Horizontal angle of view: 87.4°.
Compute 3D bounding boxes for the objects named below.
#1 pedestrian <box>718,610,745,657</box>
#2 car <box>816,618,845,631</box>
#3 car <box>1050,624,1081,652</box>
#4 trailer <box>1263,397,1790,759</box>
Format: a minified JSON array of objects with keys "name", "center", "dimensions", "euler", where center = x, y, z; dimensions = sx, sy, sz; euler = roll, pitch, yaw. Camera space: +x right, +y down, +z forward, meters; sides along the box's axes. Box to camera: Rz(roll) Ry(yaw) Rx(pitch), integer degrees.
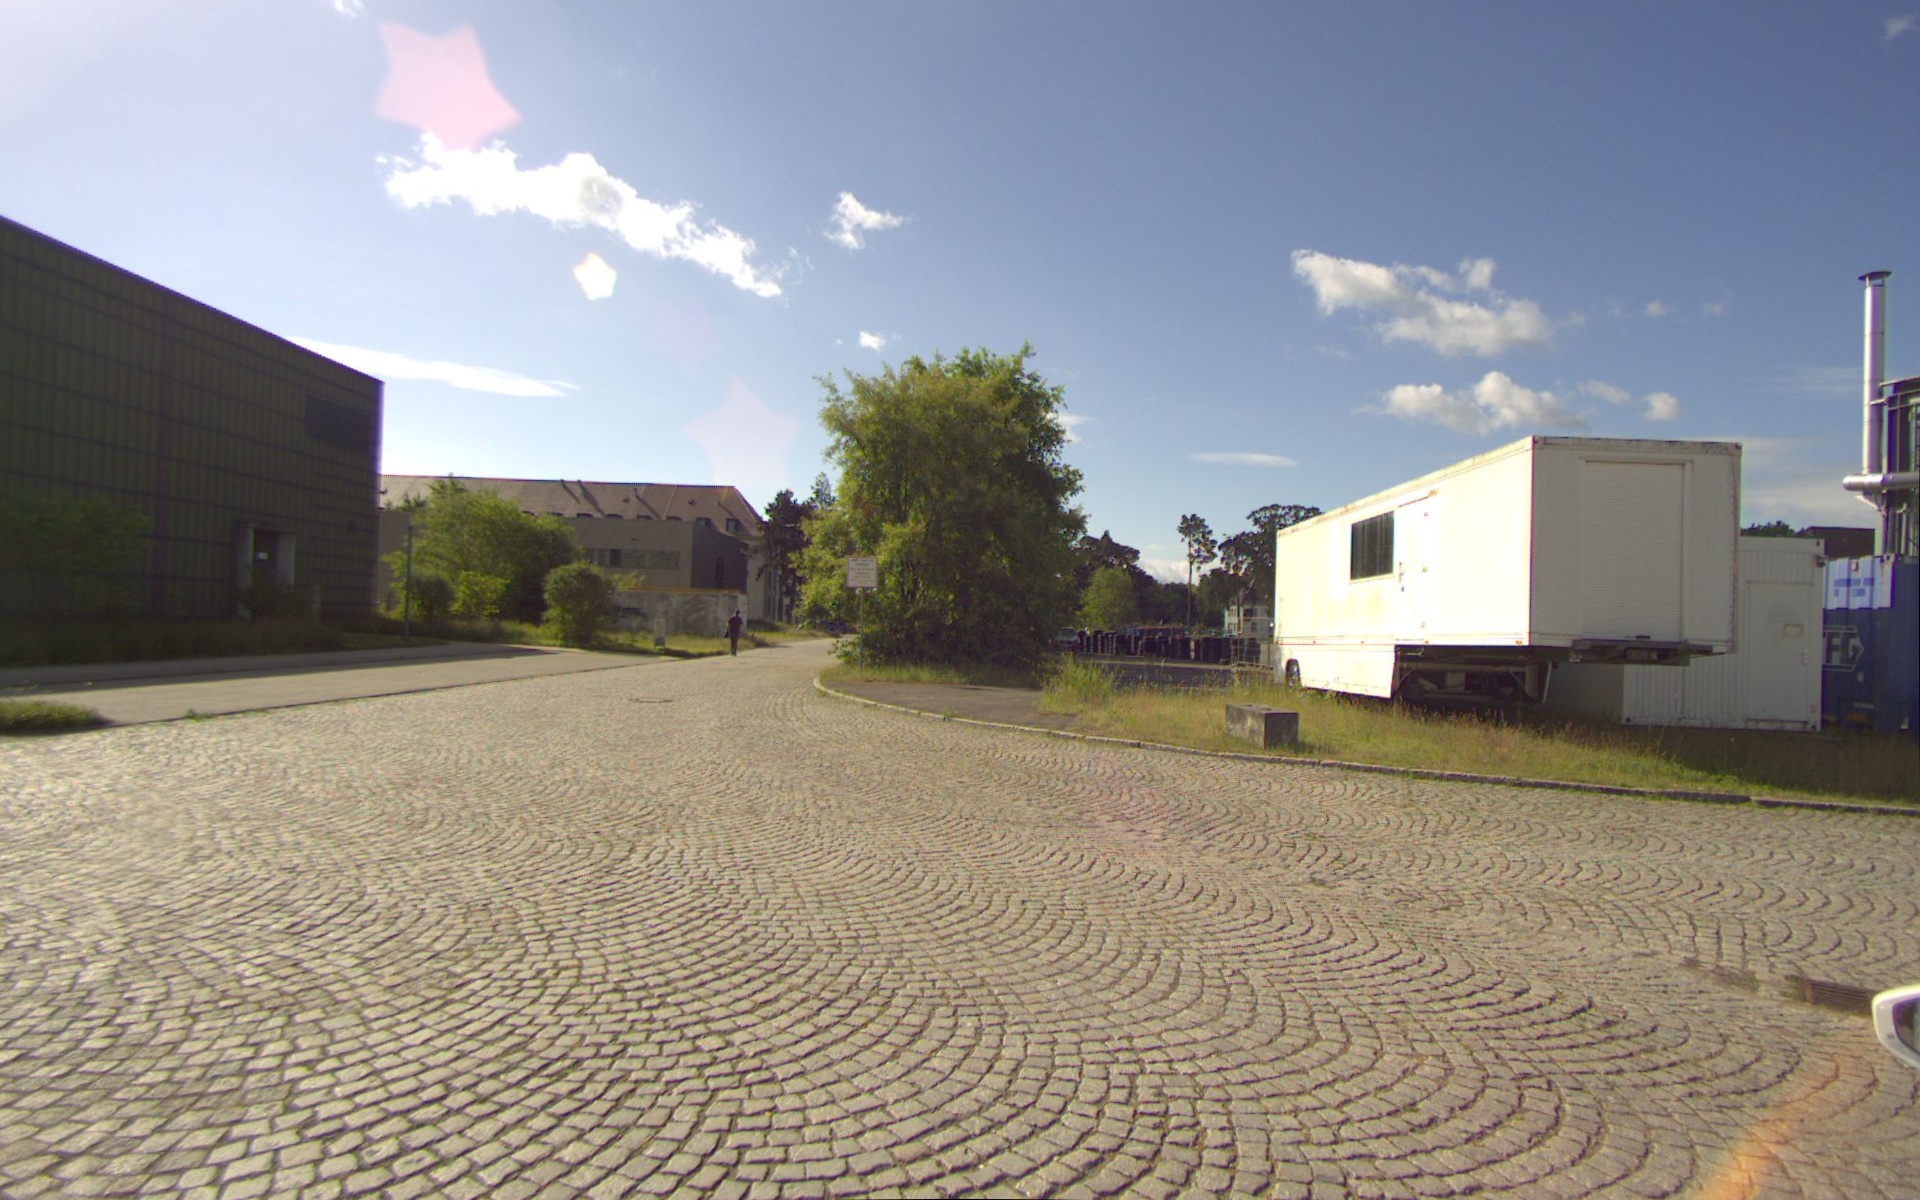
[{"name":"pedestrian","center":[-9.126,1.332,40.113],"dimensions":[0.782,1.804,1.068],"euler":[3,-1,-3]},{"name":"car","center":[-13.344,2.547,103.499],"dimensions":[2.859,1.276,1.286],"euler":[2,-1,-10]},{"name":"car","center":[5.737,2.047,54.888],"dimensions":[1.514,1.425,3.580],"euler":[2,-1,5]},{"name":"trailer","center":[7.989,-0.121,16.699],"dimensions":[2.726,3.962,10.889],"euler":[2,-1,1]}]
